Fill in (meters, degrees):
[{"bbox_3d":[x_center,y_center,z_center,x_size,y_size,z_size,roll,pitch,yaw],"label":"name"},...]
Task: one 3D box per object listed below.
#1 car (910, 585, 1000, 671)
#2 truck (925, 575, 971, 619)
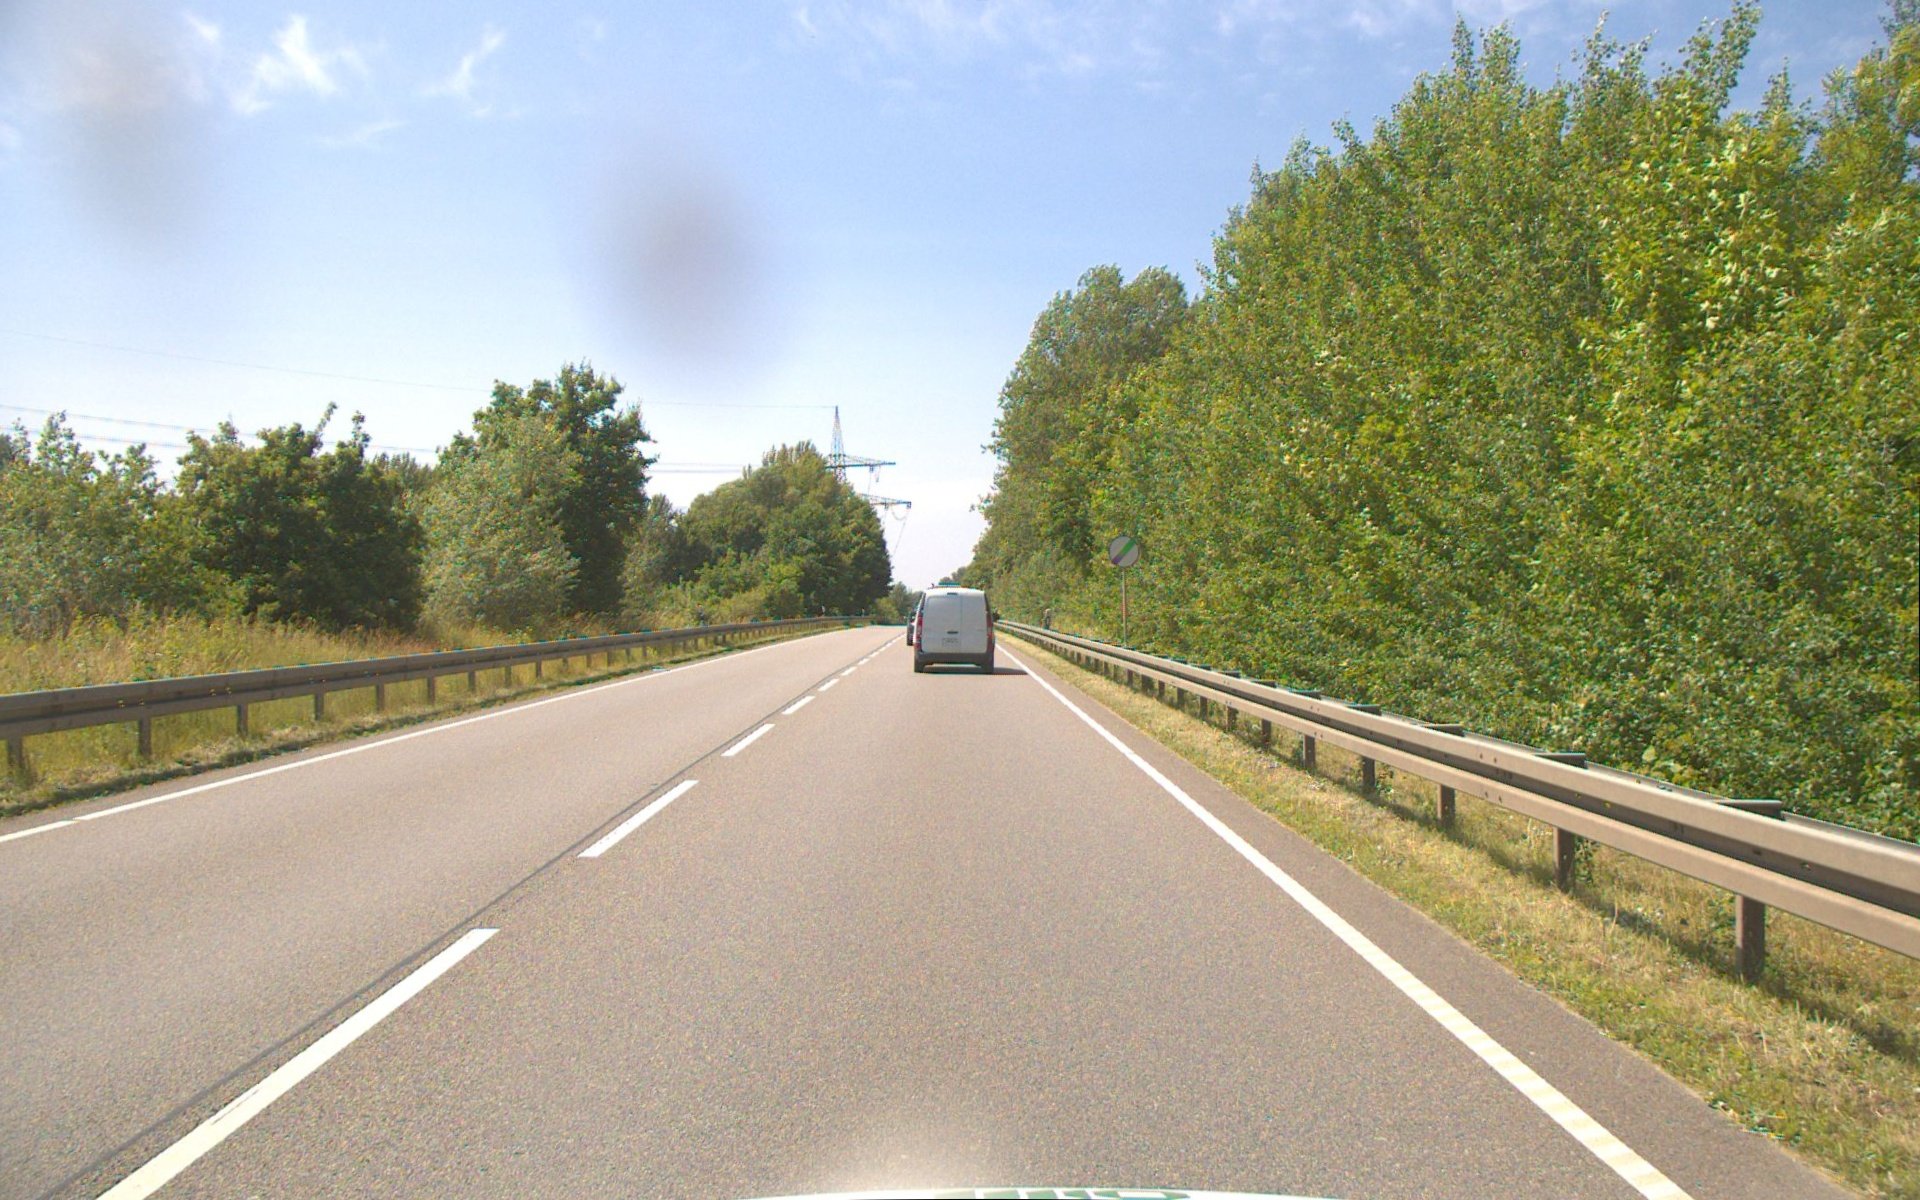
[{"bbox_3d":[-0.132,0.593,36.495,1.837,1.772,3.999,1,0,-1],"label":"car"},{"bbox_3d":[-1.061,-0.255,132.949,3.230,3.227,14.399,3,0,-2],"label":"truck"}]
